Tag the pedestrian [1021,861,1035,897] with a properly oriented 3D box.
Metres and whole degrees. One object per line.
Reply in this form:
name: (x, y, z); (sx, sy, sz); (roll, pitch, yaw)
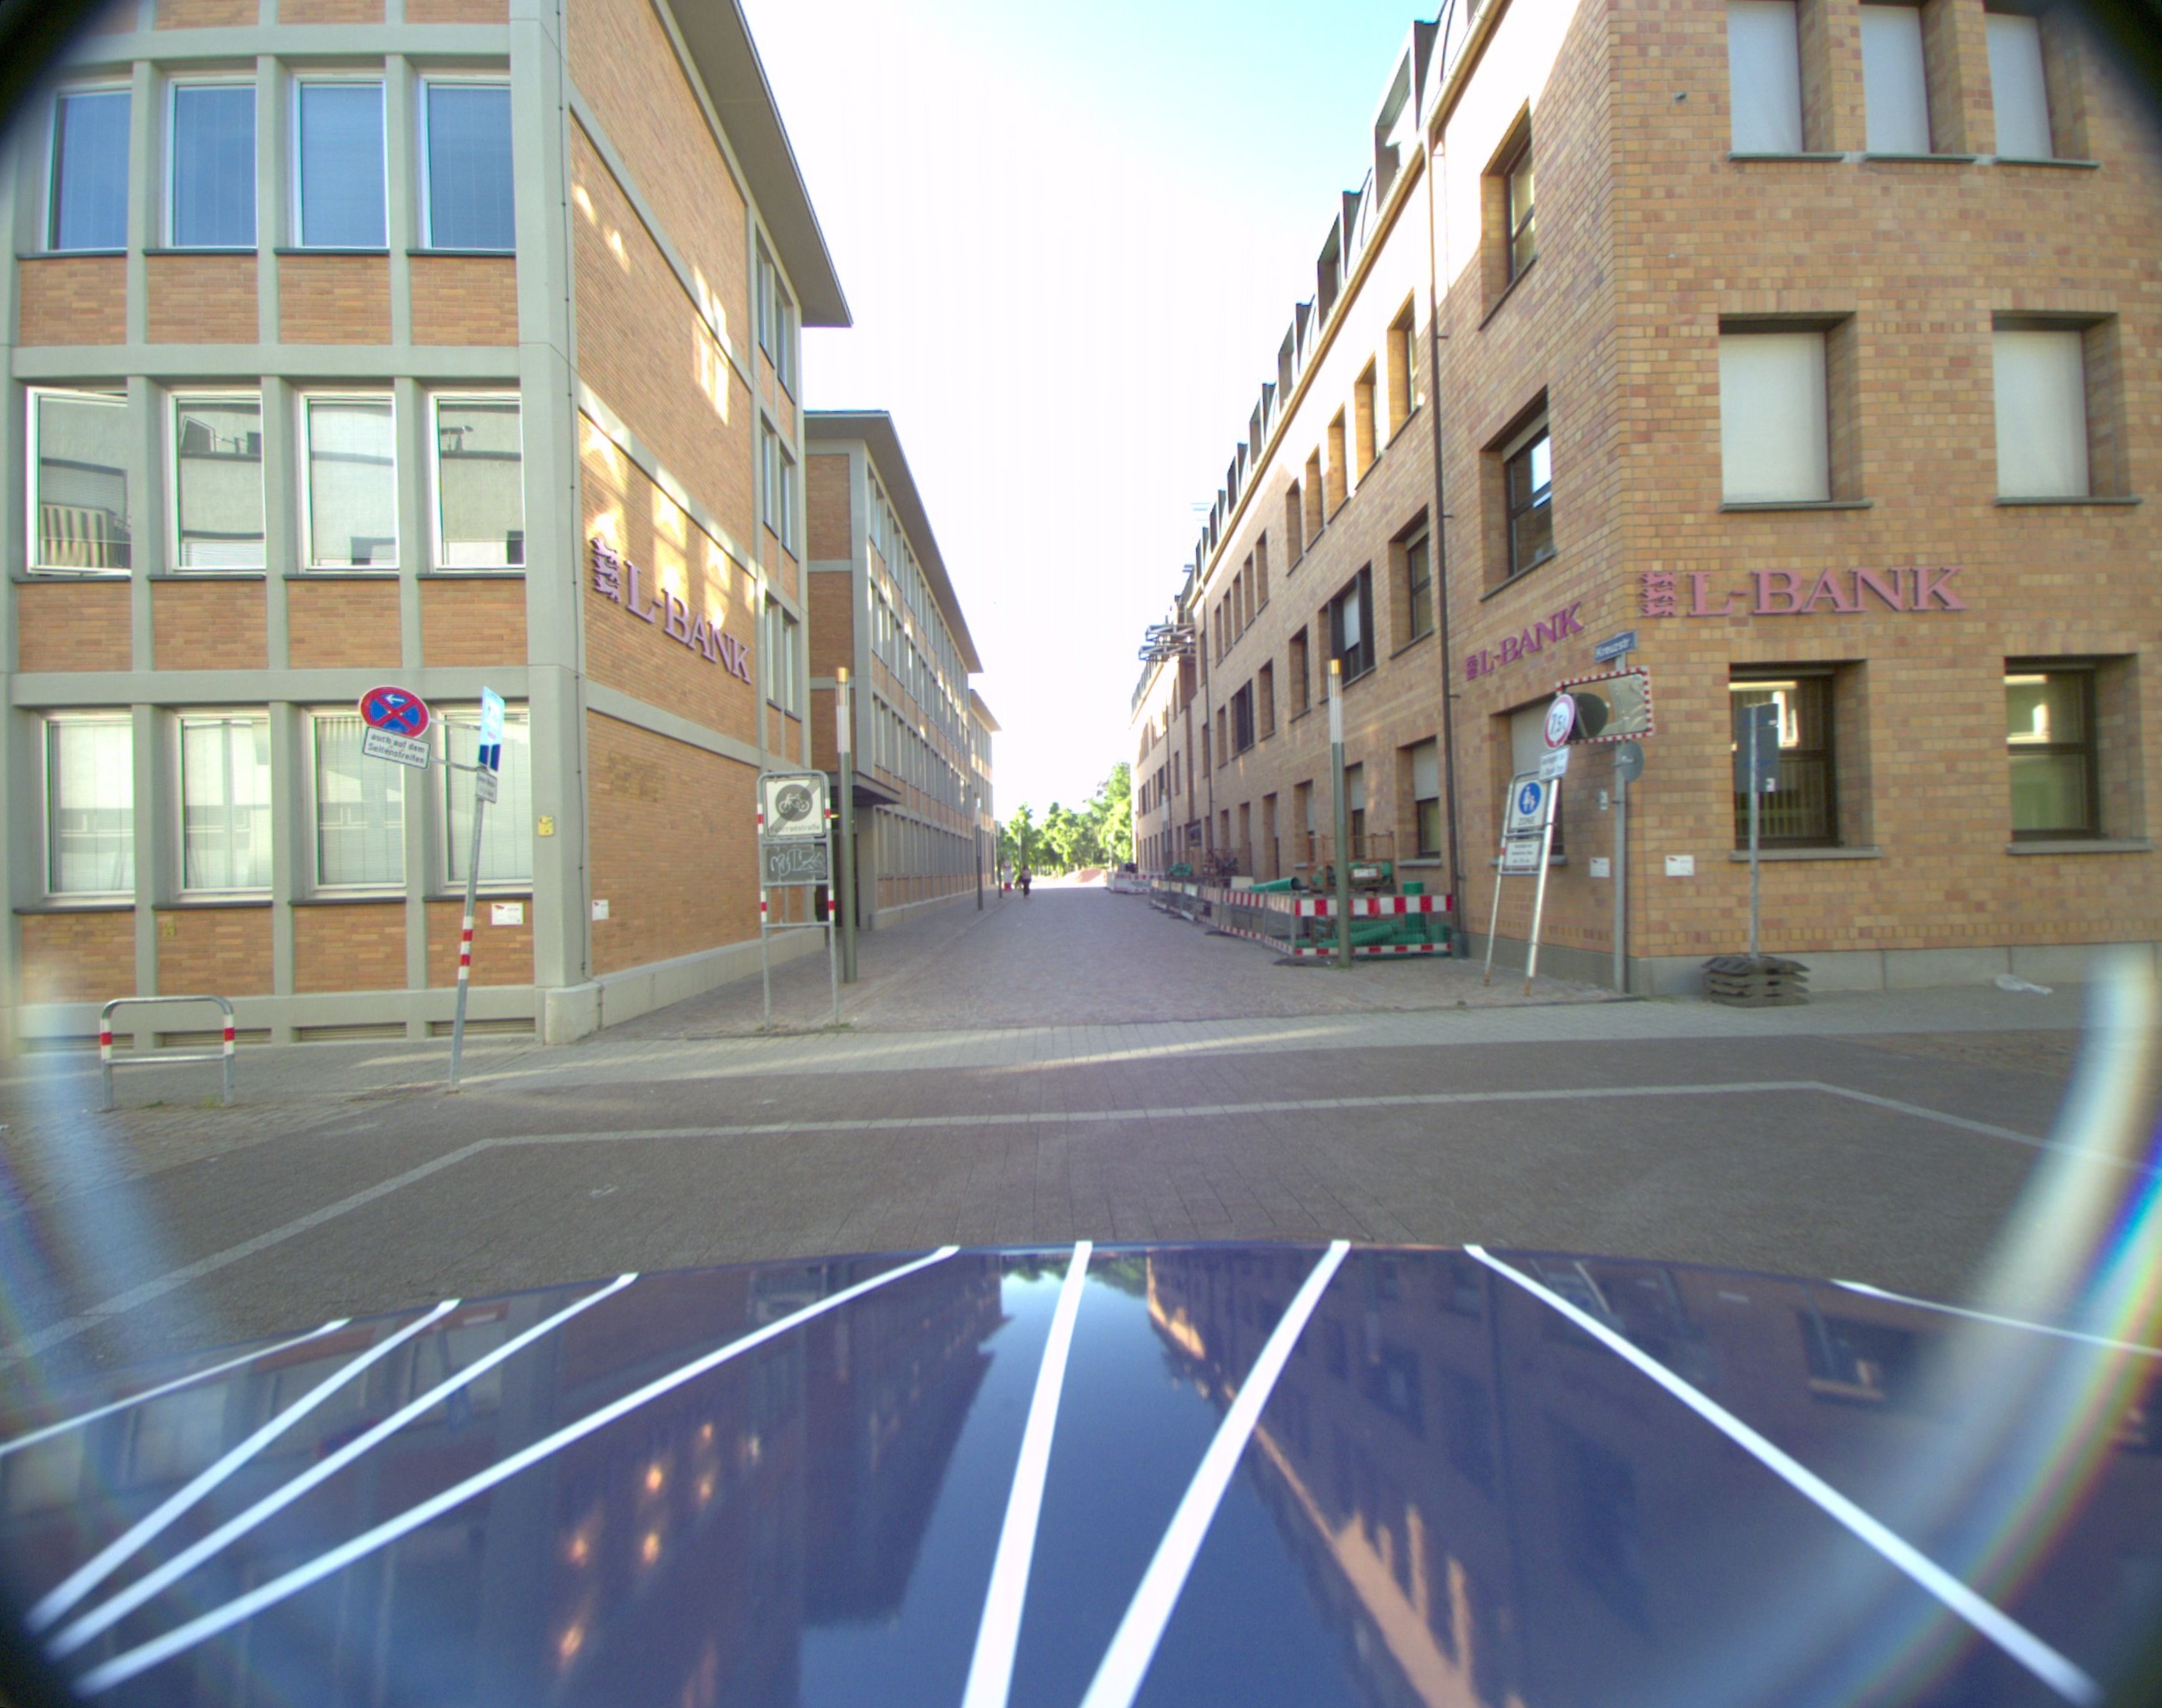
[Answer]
pedestrian: (-2.638, 1.254, 38.067); (0.638, 1.774, 0.652); (-2, -2, -2)
